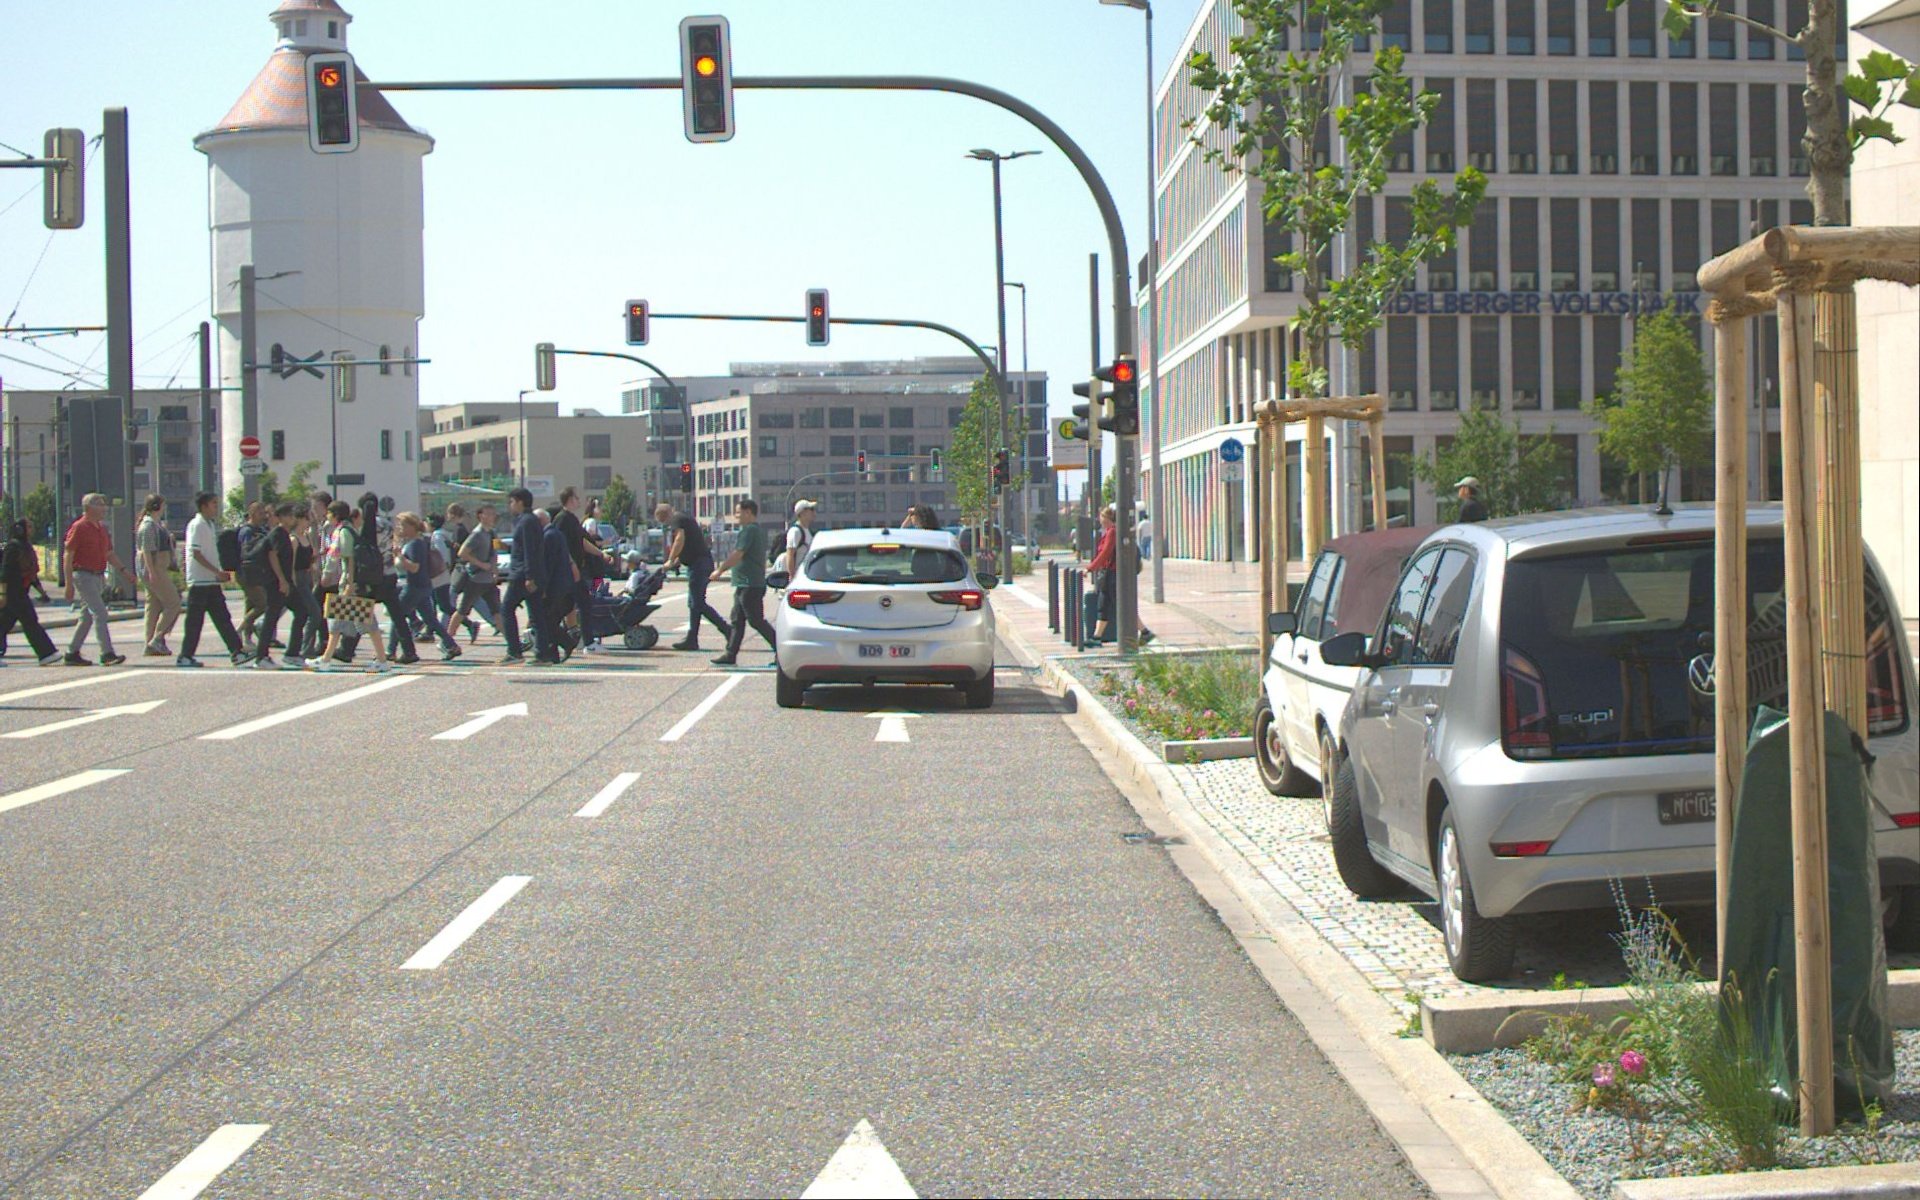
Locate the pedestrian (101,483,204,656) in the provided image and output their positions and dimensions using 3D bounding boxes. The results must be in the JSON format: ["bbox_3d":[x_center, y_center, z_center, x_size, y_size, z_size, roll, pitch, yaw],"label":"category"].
[{"bbox_3d":[-8.934,-0.340,38.059,0.888,1.884,0.796,-1,1,4],"label":"pedestrian"}]

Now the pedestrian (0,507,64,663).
[{"bbox_3d":[-9.880,-0.163,36.146,0.633,1.612,0.768,-1,1,5],"label":"pedestrian"}]

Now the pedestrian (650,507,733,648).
[{"bbox_3d":[-3.178,-0.276,40.640,0.887,1.641,0.796,-1,1,-10],"label":"pedestrian"}]

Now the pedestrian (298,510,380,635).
[{"bbox_3d":[-8.254,-0.366,45.723,0.888,1.641,0.796,-1,1,4],"label":"pedestrian"}]

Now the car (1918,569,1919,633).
[{"bbox_3d":[2.492,0.652,4.018,1.605,1.383,3.815,-2,1,0],"label":"car"}]

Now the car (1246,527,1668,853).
[{"bbox_3d":[2.317,0.347,16.866,1.429,1.385,4.000,-1,1,-1],"label":"car"}]

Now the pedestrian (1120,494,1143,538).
[{"bbox_3d":[6.434,-3.147,129.035,0.794,1.641,0.891,-1,1,-1],"label":"pedestrian"}]

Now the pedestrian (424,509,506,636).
[{"bbox_3d":[-6.439,-0.363,44.758,0.888,1.641,0.796,-1,1,4],"label":"pedestrian"}]

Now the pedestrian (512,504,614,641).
[{"bbox_3d":[-5.363,-0.377,46.491,1.181,1.814,1.068,-1,1,4],"label":"pedestrian"}]

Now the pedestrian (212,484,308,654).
[{"bbox_3d":[-7.862,-0.350,38.644,0.888,1.884,0.796,-1,1,0],"label":"pedestrian"}]

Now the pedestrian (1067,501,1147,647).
[{"bbox_3d":[1.682,-0.302,39.299,0.888,1.641,0.796,-1,1,4],"label":"pedestrian"}]

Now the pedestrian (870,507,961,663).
[{"bbox_3d":[-0.461,-0.161,35.868,0.767,1.614,0.691,0,1,16],"label":"pedestrian"}]

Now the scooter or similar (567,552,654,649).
[{"bbox_3d":[-4.109,0.003,40.433,0.950,1.114,0.767,-1,1,-10],"label":"scooter or similar"}]

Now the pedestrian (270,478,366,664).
[{"bbox_3d":[-6.604,-0.305,35.384,0.887,1.884,0.692,-1,1,-5],"label":"pedestrian"}]

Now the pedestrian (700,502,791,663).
[{"bbox_3d":[-2.208,-0.188,35.374,0.887,1.629,0.692,-1,1,-5],"label":"pedestrian"}]

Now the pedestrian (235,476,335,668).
[{"bbox_3d":[-6.730,-0.283,34.305,0.887,1.884,0.692,-1,1,-5],"label":"pedestrian"}]

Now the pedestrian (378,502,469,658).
[{"bbox_3d":[-5.747,-0.224,36.871,0.794,1.641,0.891,-1,1,2],"label":"pedestrian"}]

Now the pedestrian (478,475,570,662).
[{"bbox_3d":[-4.467,-0.325,35.267,0.887,1.884,0.796,-1,1,-5],"label":"pedestrian"}]

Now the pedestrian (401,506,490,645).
[{"bbox_3d":[-6.168,-0.297,41.279,0.888,1.641,0.796,-1,1,4],"label":"pedestrian"}]

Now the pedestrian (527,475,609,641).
[{"bbox_3d":[-4.510,-0.488,39.581,0.841,1.884,0.692,-1,1,1],"label":"pedestrian"}]

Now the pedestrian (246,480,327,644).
[{"bbox_3d":[-7.838,-0.444,40.031,0.734,1.884,0.713,1,1,4],"label":"pedestrian"}]

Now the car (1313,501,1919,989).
[{"bbox_3d":[2.238,0.403,12.193,1.556,1.467,3.470,-1,1,-1],"label":"car"}]

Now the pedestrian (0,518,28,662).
[{"bbox_3d":[-11.246,-0.116,39.293,0.911,1.631,0.814,-1,1,4],"label":"pedestrian"}]

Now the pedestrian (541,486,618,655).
[{"bbox_3d":[-4.292,-0.336,38.797,0.766,1.884,0.692,-1,1,1],"label":"pedestrian"}]

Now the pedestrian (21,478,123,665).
[{"bbox_3d":[-9.099,-0.300,35.246,0.887,1.884,0.692,-1,1,-5],"label":"pedestrian"}]

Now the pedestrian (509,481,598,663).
[{"bbox_3d":[-4.261,-0.301,36.102,0.887,1.884,0.796,-1,1,-5],"label":"pedestrian"}]

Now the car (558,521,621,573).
[{"bbox_3d":[-11.012,-1.564,102.227,1.586,1.525,3.693,0,0,-2],"label":"car"}]

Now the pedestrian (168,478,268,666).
[{"bbox_3d":[-7.532,-0.291,34.910,0.887,1.884,0.692,-1,1,-5],"label":"pedestrian"}]

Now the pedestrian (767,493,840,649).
[{"bbox_3d":[-1.761,-0.332,38.794,0.766,1.728,0.692,-1,1,1],"label":"pedestrian"}]

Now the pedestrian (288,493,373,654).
[{"bbox_3d":[-6.834,-0.290,37.346,0.766,1.728,0.692,-1,1,1],"label":"pedestrian"}]

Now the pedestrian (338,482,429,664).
[{"bbox_3d":[-6.046,-0.290,36.089,0.730,1.884,0.821,-1,1,5],"label":"pedestrian"}]

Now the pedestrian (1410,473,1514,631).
[{"bbox_3d":[5.332,-0.516,36.547,0.990,1.649,0.692,-1,1,1],"label":"pedestrian"}]

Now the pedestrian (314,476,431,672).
[{"bbox_3d":[-5.742,-0.262,33.634,1.013,1.884,0.798,-1,1,-3],"label":"pedestrian"}]

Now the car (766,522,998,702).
[{"bbox_3d":[-0.596,0.092,28.844,1.771,1.390,3.531,1,0,1],"label":"car"}]

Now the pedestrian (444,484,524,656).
[{"bbox_3d":[-5.275,-0.338,38.120,0.766,1.884,0.692,-1,1,1],"label":"pedestrian"}]
